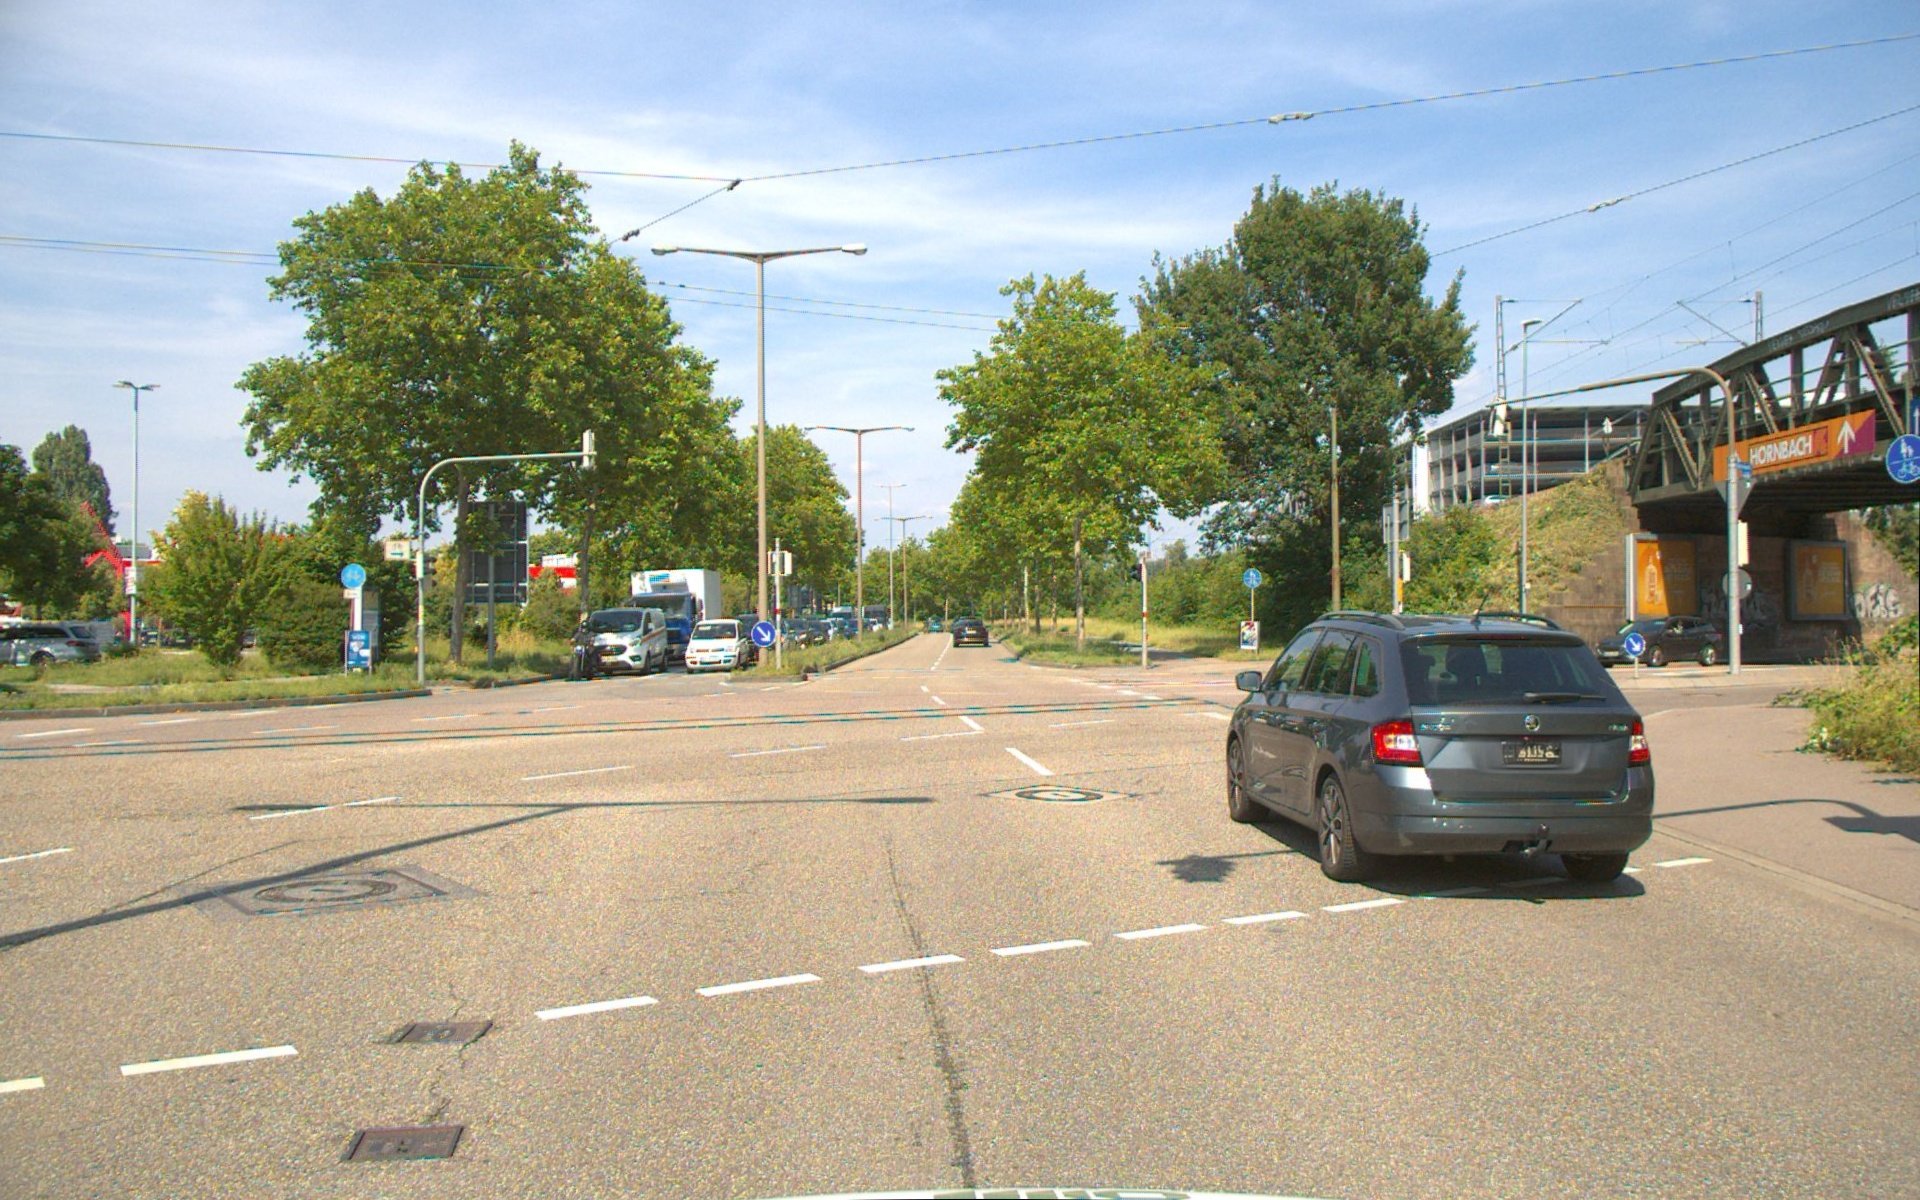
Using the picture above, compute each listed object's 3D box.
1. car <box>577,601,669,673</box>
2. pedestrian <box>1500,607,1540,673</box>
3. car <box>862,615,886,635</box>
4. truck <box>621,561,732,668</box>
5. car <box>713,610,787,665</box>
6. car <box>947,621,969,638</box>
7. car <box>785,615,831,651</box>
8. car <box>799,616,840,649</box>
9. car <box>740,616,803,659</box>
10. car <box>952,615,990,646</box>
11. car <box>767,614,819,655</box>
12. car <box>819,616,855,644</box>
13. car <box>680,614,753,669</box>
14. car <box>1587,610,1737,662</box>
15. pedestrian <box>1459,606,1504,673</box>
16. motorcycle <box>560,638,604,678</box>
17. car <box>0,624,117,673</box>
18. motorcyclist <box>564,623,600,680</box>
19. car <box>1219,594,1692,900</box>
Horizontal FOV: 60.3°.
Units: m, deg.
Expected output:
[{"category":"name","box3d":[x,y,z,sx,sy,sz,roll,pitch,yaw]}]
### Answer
[{"category":"car","box3d":[-10.041,1.060,49.620,1.936,2.034,5.029,0,0,-2]},{"category":"pedestrian","box3d":[13.917,0.988,41.148,0.714,1.607,0.777,0,-1,0]},{"category":"car","box3d":[-6.624,1.923,127.967,1.654,1.537,3.814,-2,0,0]},{"category":"truck","box3d":[-10.184,0.502,60.042,2.746,3.532,6.691,-2,0,0]},{"category":"car","box3d":[-6.890,1.240,54.707,1.783,1.675,4.693,-2,-1,0]},{"category":"car","box3d":[-0.205,2.793,158.891,1.870,1.489,4.579,0,0,-3]},{"category":"car","box3d":[-6.905,1.484,75.521,1.654,1.499,4.218,-2,0,0]},{"category":"car","box3d":[-6.879,1.568,81.157,1.654,1.497,3.814,-2,0,0]},{"category":"car","box3d":[-6.975,1.374,61.606,1.760,1.493,4.522,-2,0,0]},{"category":"car","box3d":[0.539,1.548,85.264,1.869,1.489,4.620,0,0,-1]},{"category":"car","box3d":[-6.861,1.394,68.154,1.654,1.614,4.240,-2,0,0]},{"category":"car","box3d":[-6.943,1.695,93.851,1.748,1.515,4.210,-2,0,-1]},{"category":"car","box3d":[-7.146,1.202,48.758,1.560,1.503,3.729,-2,0,0]},{"category":"car","box3d":[20.742,1.032,48.835,4.445,1.433,1.977,0,-1,-33]},{"category":"pedestrian","box3d":[12.972,0.978,41.173,0.850,1.640,0.777,0,-1,-1]},{"category":"motorcycle","box3d":[-10.147,1.536,44.442,0.674,1.009,2.217,0,0,0]},{"category":"car","box3d":[-28.786,1.481,50.976,4.475,1.439,2.197,0,-1,-7]},{"category":"motorcyclist","box3d":[-10.180,1.376,44.538,0.728,1.496,0.987,0,-1,0]},{"category":"car","box3d":[2.756,0.734,10.155,1.640,1.479,4.035,1,0,-1]}]
